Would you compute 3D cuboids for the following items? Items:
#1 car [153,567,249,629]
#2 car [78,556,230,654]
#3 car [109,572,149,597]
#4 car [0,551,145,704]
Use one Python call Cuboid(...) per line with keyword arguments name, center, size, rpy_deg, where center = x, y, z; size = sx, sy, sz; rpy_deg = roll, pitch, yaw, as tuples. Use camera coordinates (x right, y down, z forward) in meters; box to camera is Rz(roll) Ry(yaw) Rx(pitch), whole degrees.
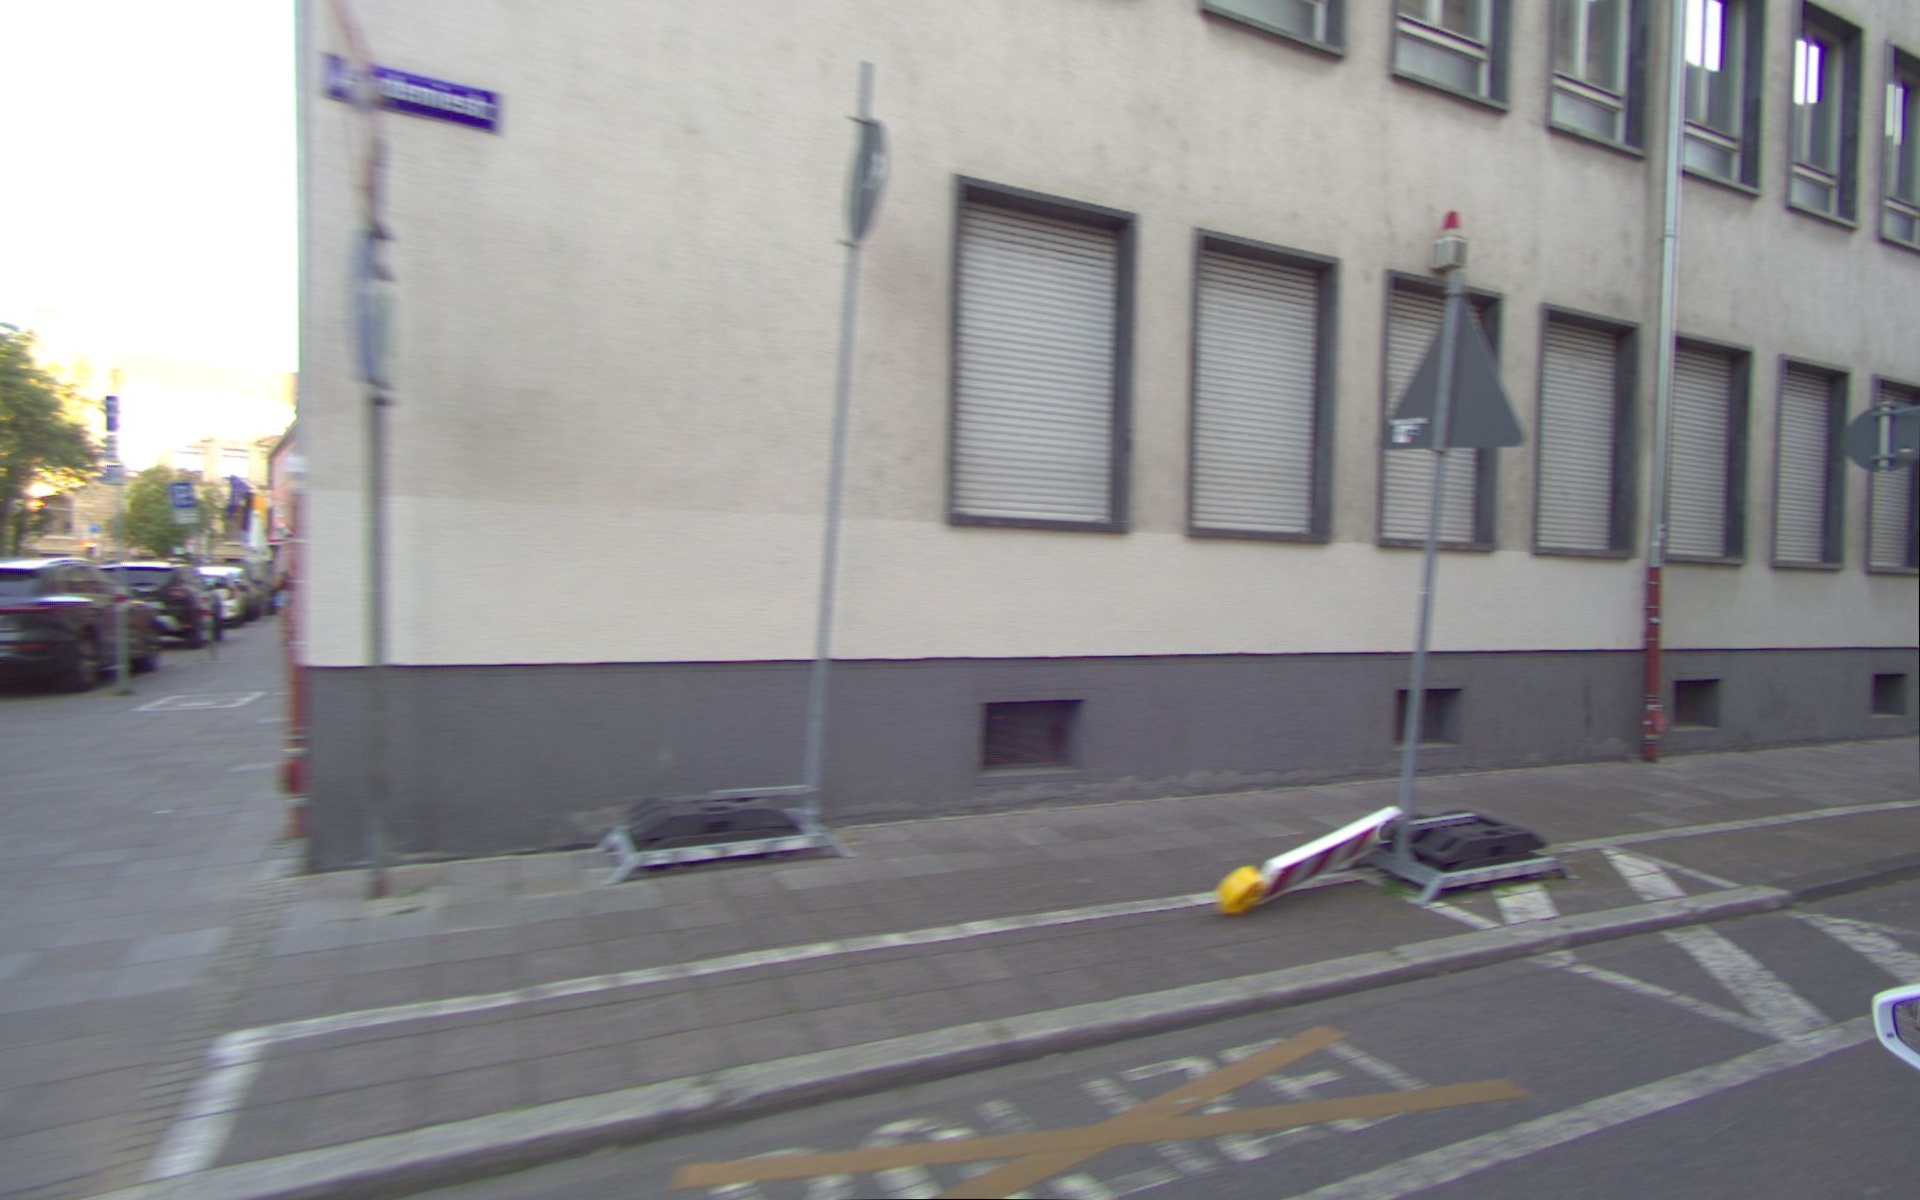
Cuboid(name="car", center=(-20.944, -0.084, 27.835), size=(1.799, 1.581, 3.830), rpy_deg=(1, 1, -33))
Cuboid(name="car", center=(-15.606, 0.052, 19.648), size=(1.798, 1.706, 3.965), rpy_deg=(1, 1, -31))
Cuboid(name="car", center=(-54.684, -1.038, 66.097), size=(1.805, 1.581, 3.816), rpy_deg=(1, 1, -43))
Cuboid(name="car", center=(-11.837, 0.255, 12.731), size=(1.798, 1.705, 3.886), rpy_deg=(1, 1, -31))
